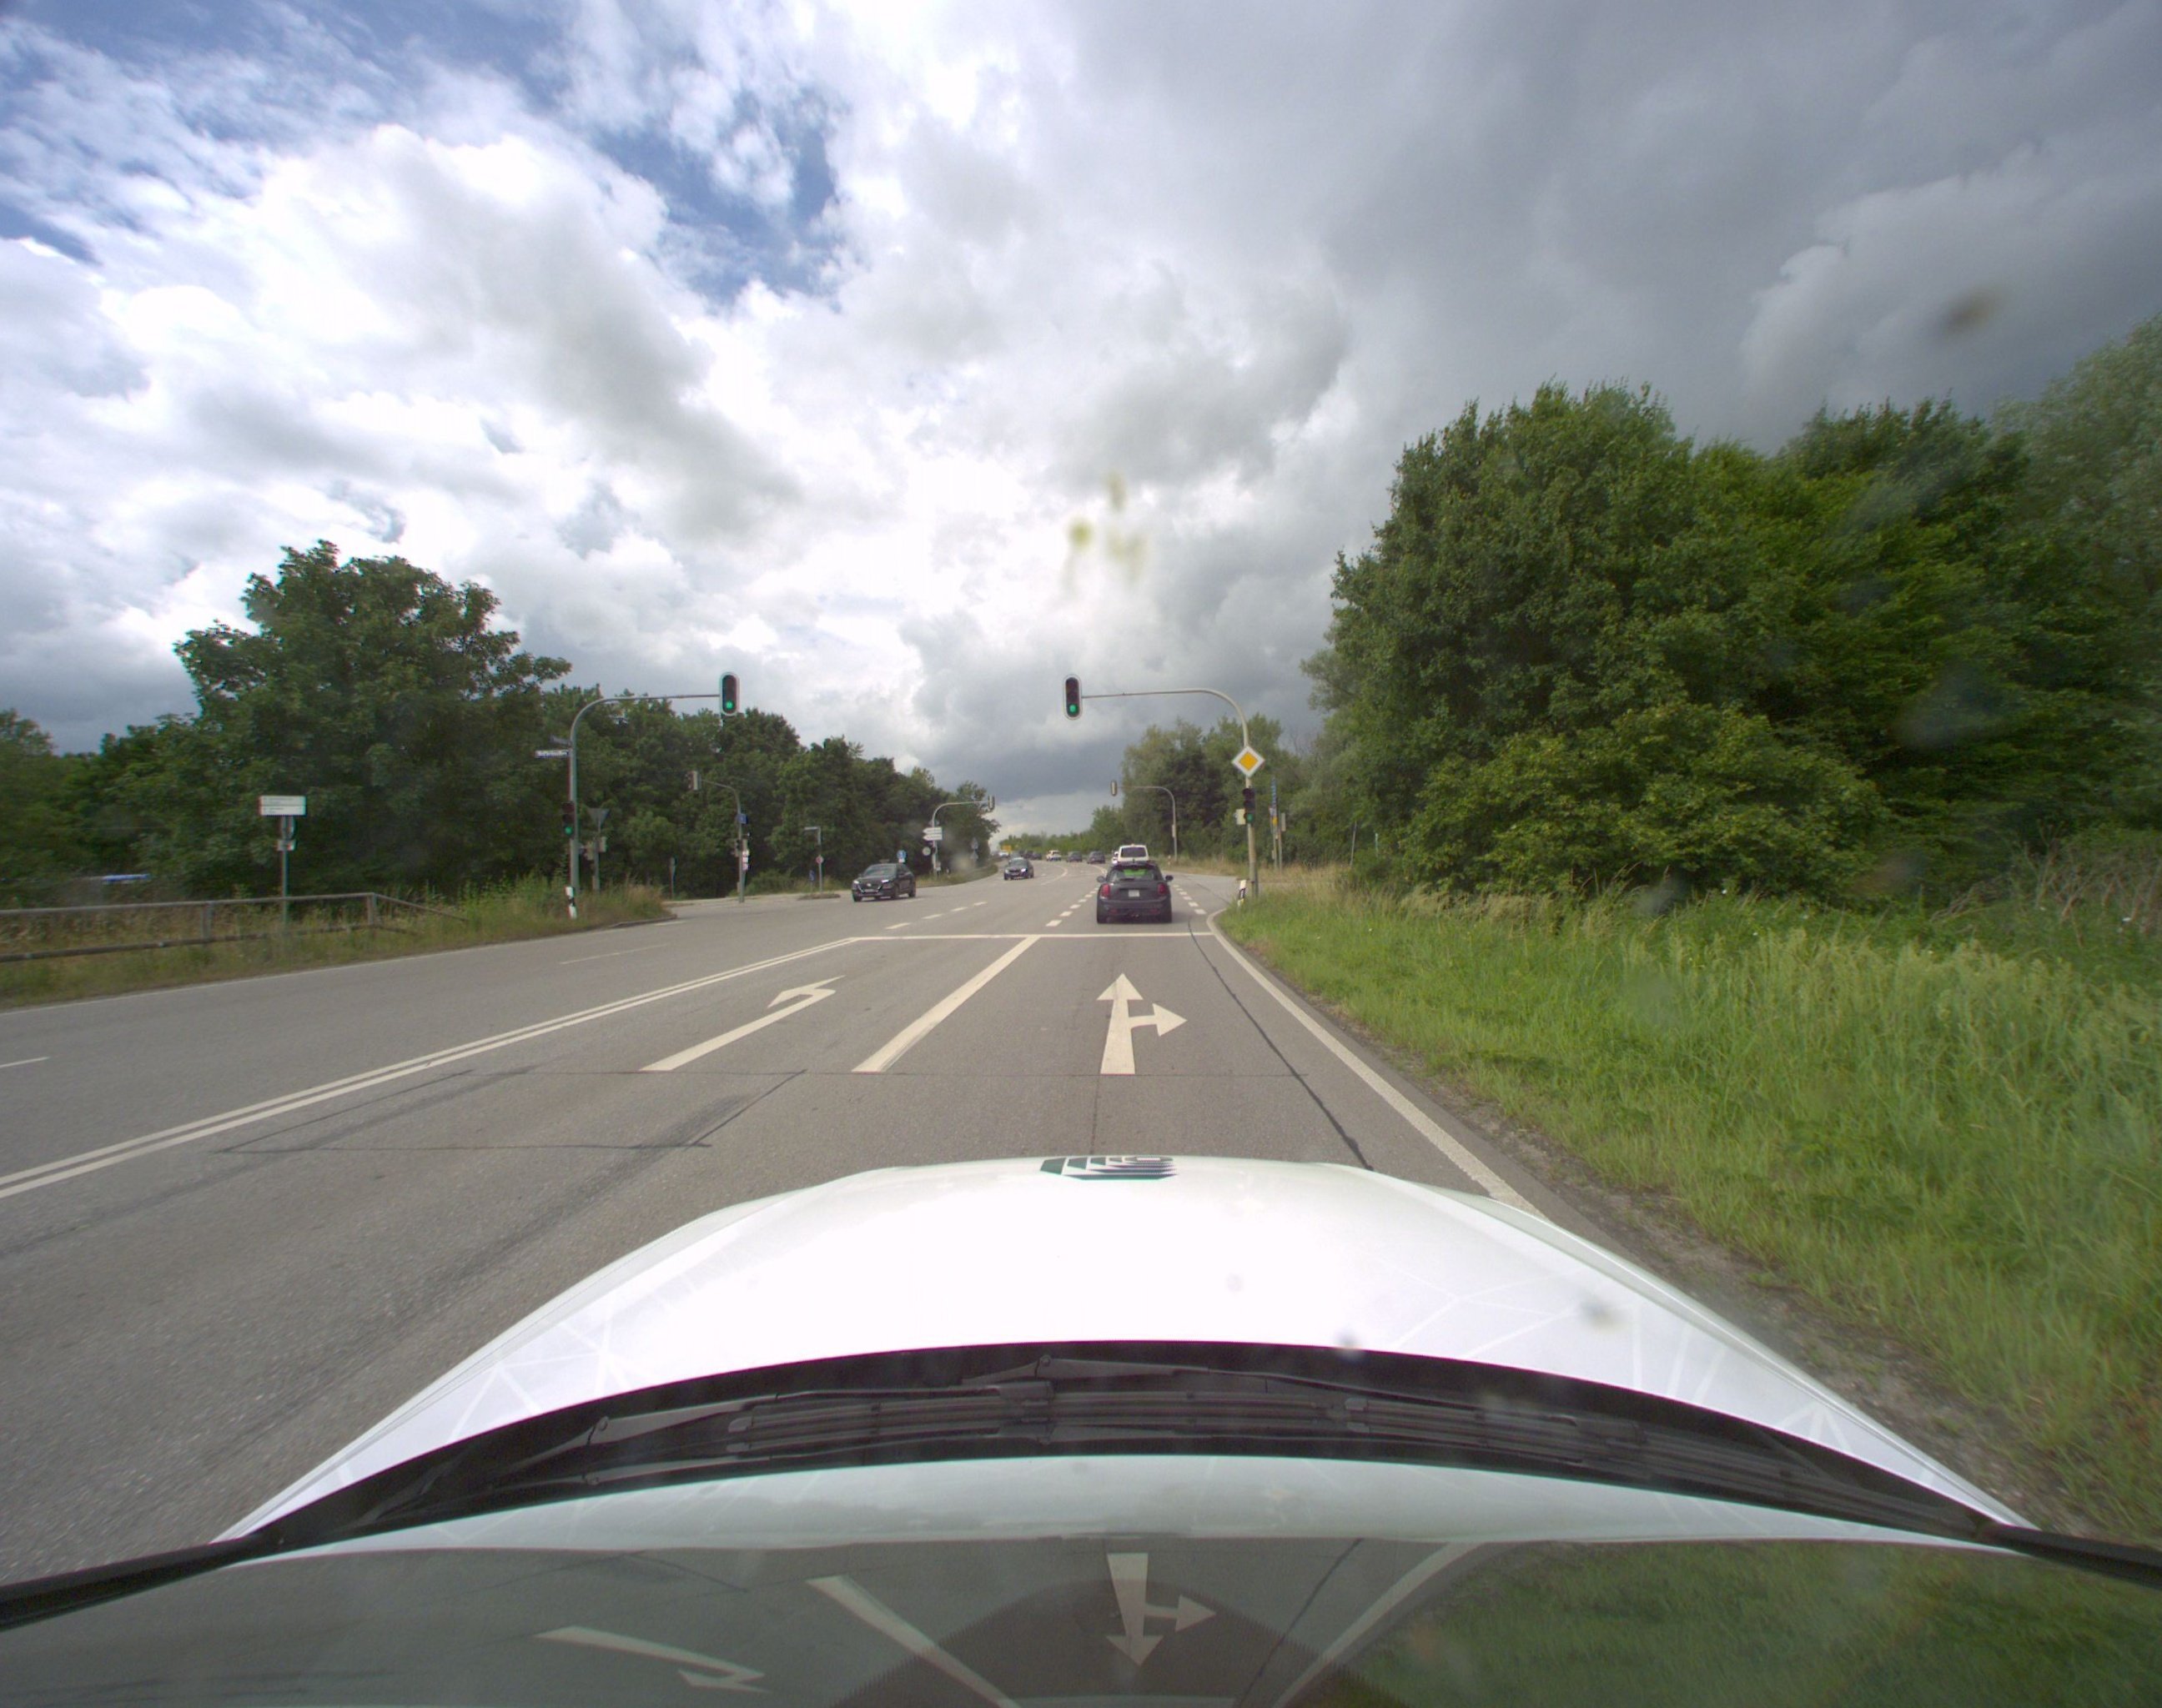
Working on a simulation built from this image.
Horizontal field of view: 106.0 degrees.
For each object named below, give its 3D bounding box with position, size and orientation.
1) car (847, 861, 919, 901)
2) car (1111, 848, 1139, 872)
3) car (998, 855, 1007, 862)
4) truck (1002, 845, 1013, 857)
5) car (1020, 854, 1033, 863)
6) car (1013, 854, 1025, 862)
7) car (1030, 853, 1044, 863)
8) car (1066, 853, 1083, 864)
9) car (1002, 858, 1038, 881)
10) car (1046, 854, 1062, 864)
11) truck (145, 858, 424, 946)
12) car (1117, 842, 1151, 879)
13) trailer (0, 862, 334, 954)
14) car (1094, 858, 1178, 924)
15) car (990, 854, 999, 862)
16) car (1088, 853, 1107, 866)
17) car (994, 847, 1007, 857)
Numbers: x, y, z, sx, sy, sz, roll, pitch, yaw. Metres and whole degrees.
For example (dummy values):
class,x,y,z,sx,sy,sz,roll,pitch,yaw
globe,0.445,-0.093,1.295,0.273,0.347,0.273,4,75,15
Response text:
class,x,y,z,sx,sy,sz,roll,pitch,yaw
car,-8.329,1.100,34.648,1.783,1.573,4.004,-2,0,4
car,3.292,0.460,61.022,1.986,1.684,4.002,-2,-1,2
car,-17.227,0.975,179.100,1.990,1.613,3.993,-2,1,-5
truck,-19.761,-0.820,218.089,2.714,2.898,8.747,-1,-2,-7
car,-10.928,0.867,163.598,1.994,1.696,4.468,-1,-1,-11
car,-13.842,0.935,180.906,1.996,1.696,4.465,-1,-1,-13
car,-8.108,0.677,149.596,1.994,1.696,4.468,-1,-1,-11
car,-0.954,0.718,115.107,1.991,1.476,4.476,-1,-1,-6
car,-4.597,1.153,62.084,1.779,1.530,4.912,-4,-1,6
car,-4.355,0.855,131.695,1.994,1.476,4.470,-1,-1,-10
truck,-32.339,1.880,33.398,7.907,3.037,2.880,-2,0,-7
car,3.098,0.344,47.067,1.836,1.986,3.847,-1,1,5
trailer,-37.209,2.087,32.792,10.708,3.037,2.880,-2,0,-7
car,1.384,0.837,20.062,1.836,1.428,3.846,-1,0,5
car,-21.836,1.001,206.463,1.994,2.013,3.986,-1,0,-10
car,1.926,0.616,97.418,1.989,1.476,4.481,-1,-1,-2
car,-14.550,-0.402,146.967,1.993,1.690,3.988,-2,1,-8
